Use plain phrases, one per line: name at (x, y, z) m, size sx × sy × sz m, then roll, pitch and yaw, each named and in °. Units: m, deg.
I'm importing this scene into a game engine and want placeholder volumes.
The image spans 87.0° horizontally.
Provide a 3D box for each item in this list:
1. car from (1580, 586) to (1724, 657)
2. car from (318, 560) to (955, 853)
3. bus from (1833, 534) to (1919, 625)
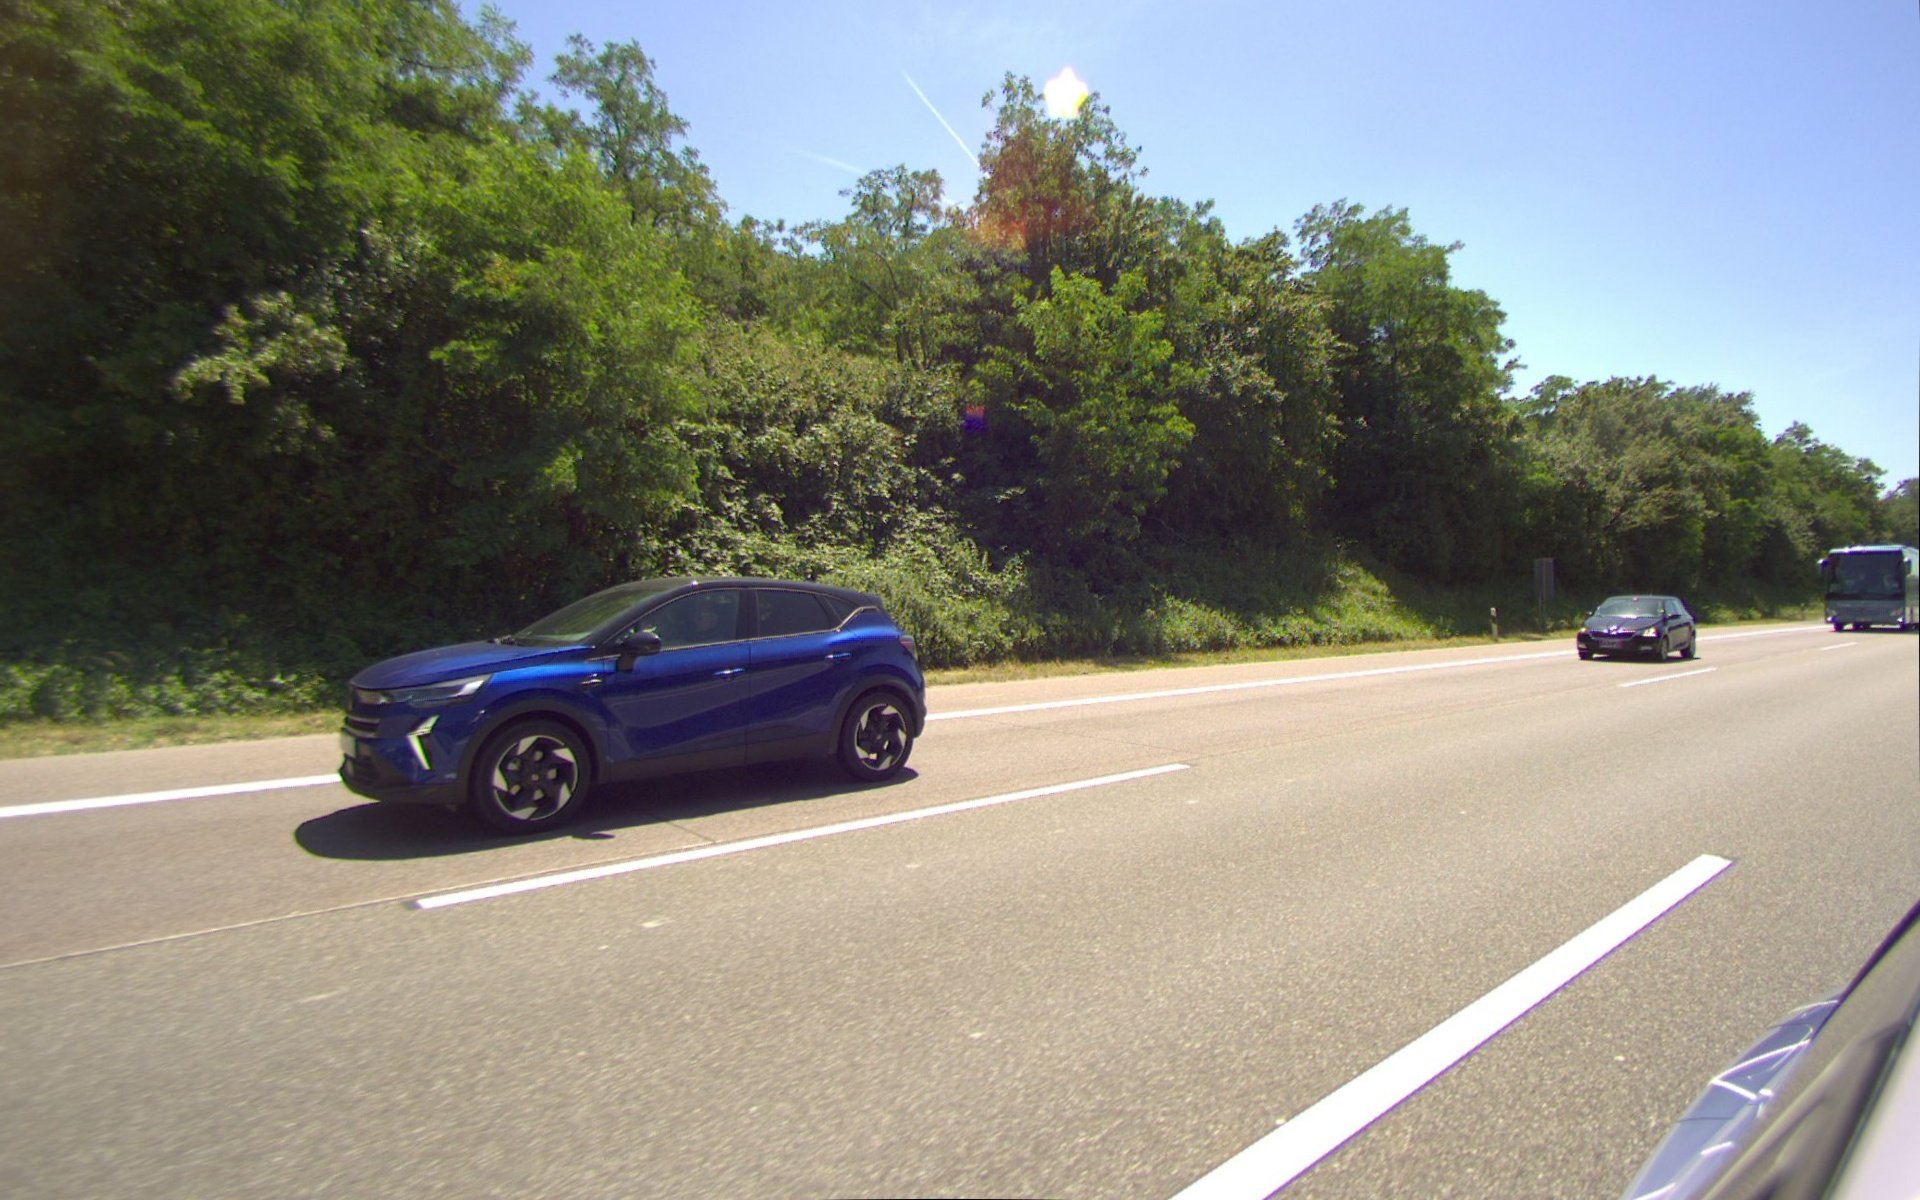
car at (16.049, 0.429, 23.384) m, size 4.494 × 1.465 × 1.672 m, roll -1°, pitch 1°, yaw -41°
car at (-2.200, 0.542, 7.514) m, size 4.128 × 1.575 × 1.873 m, roll -1°, pitch 1°, yaw -41°
bus at (41.909, -0.899, 45.191) m, size 13.445 × 3.597 × 2.614 m, roll -1°, pitch 1°, yaw -41°
